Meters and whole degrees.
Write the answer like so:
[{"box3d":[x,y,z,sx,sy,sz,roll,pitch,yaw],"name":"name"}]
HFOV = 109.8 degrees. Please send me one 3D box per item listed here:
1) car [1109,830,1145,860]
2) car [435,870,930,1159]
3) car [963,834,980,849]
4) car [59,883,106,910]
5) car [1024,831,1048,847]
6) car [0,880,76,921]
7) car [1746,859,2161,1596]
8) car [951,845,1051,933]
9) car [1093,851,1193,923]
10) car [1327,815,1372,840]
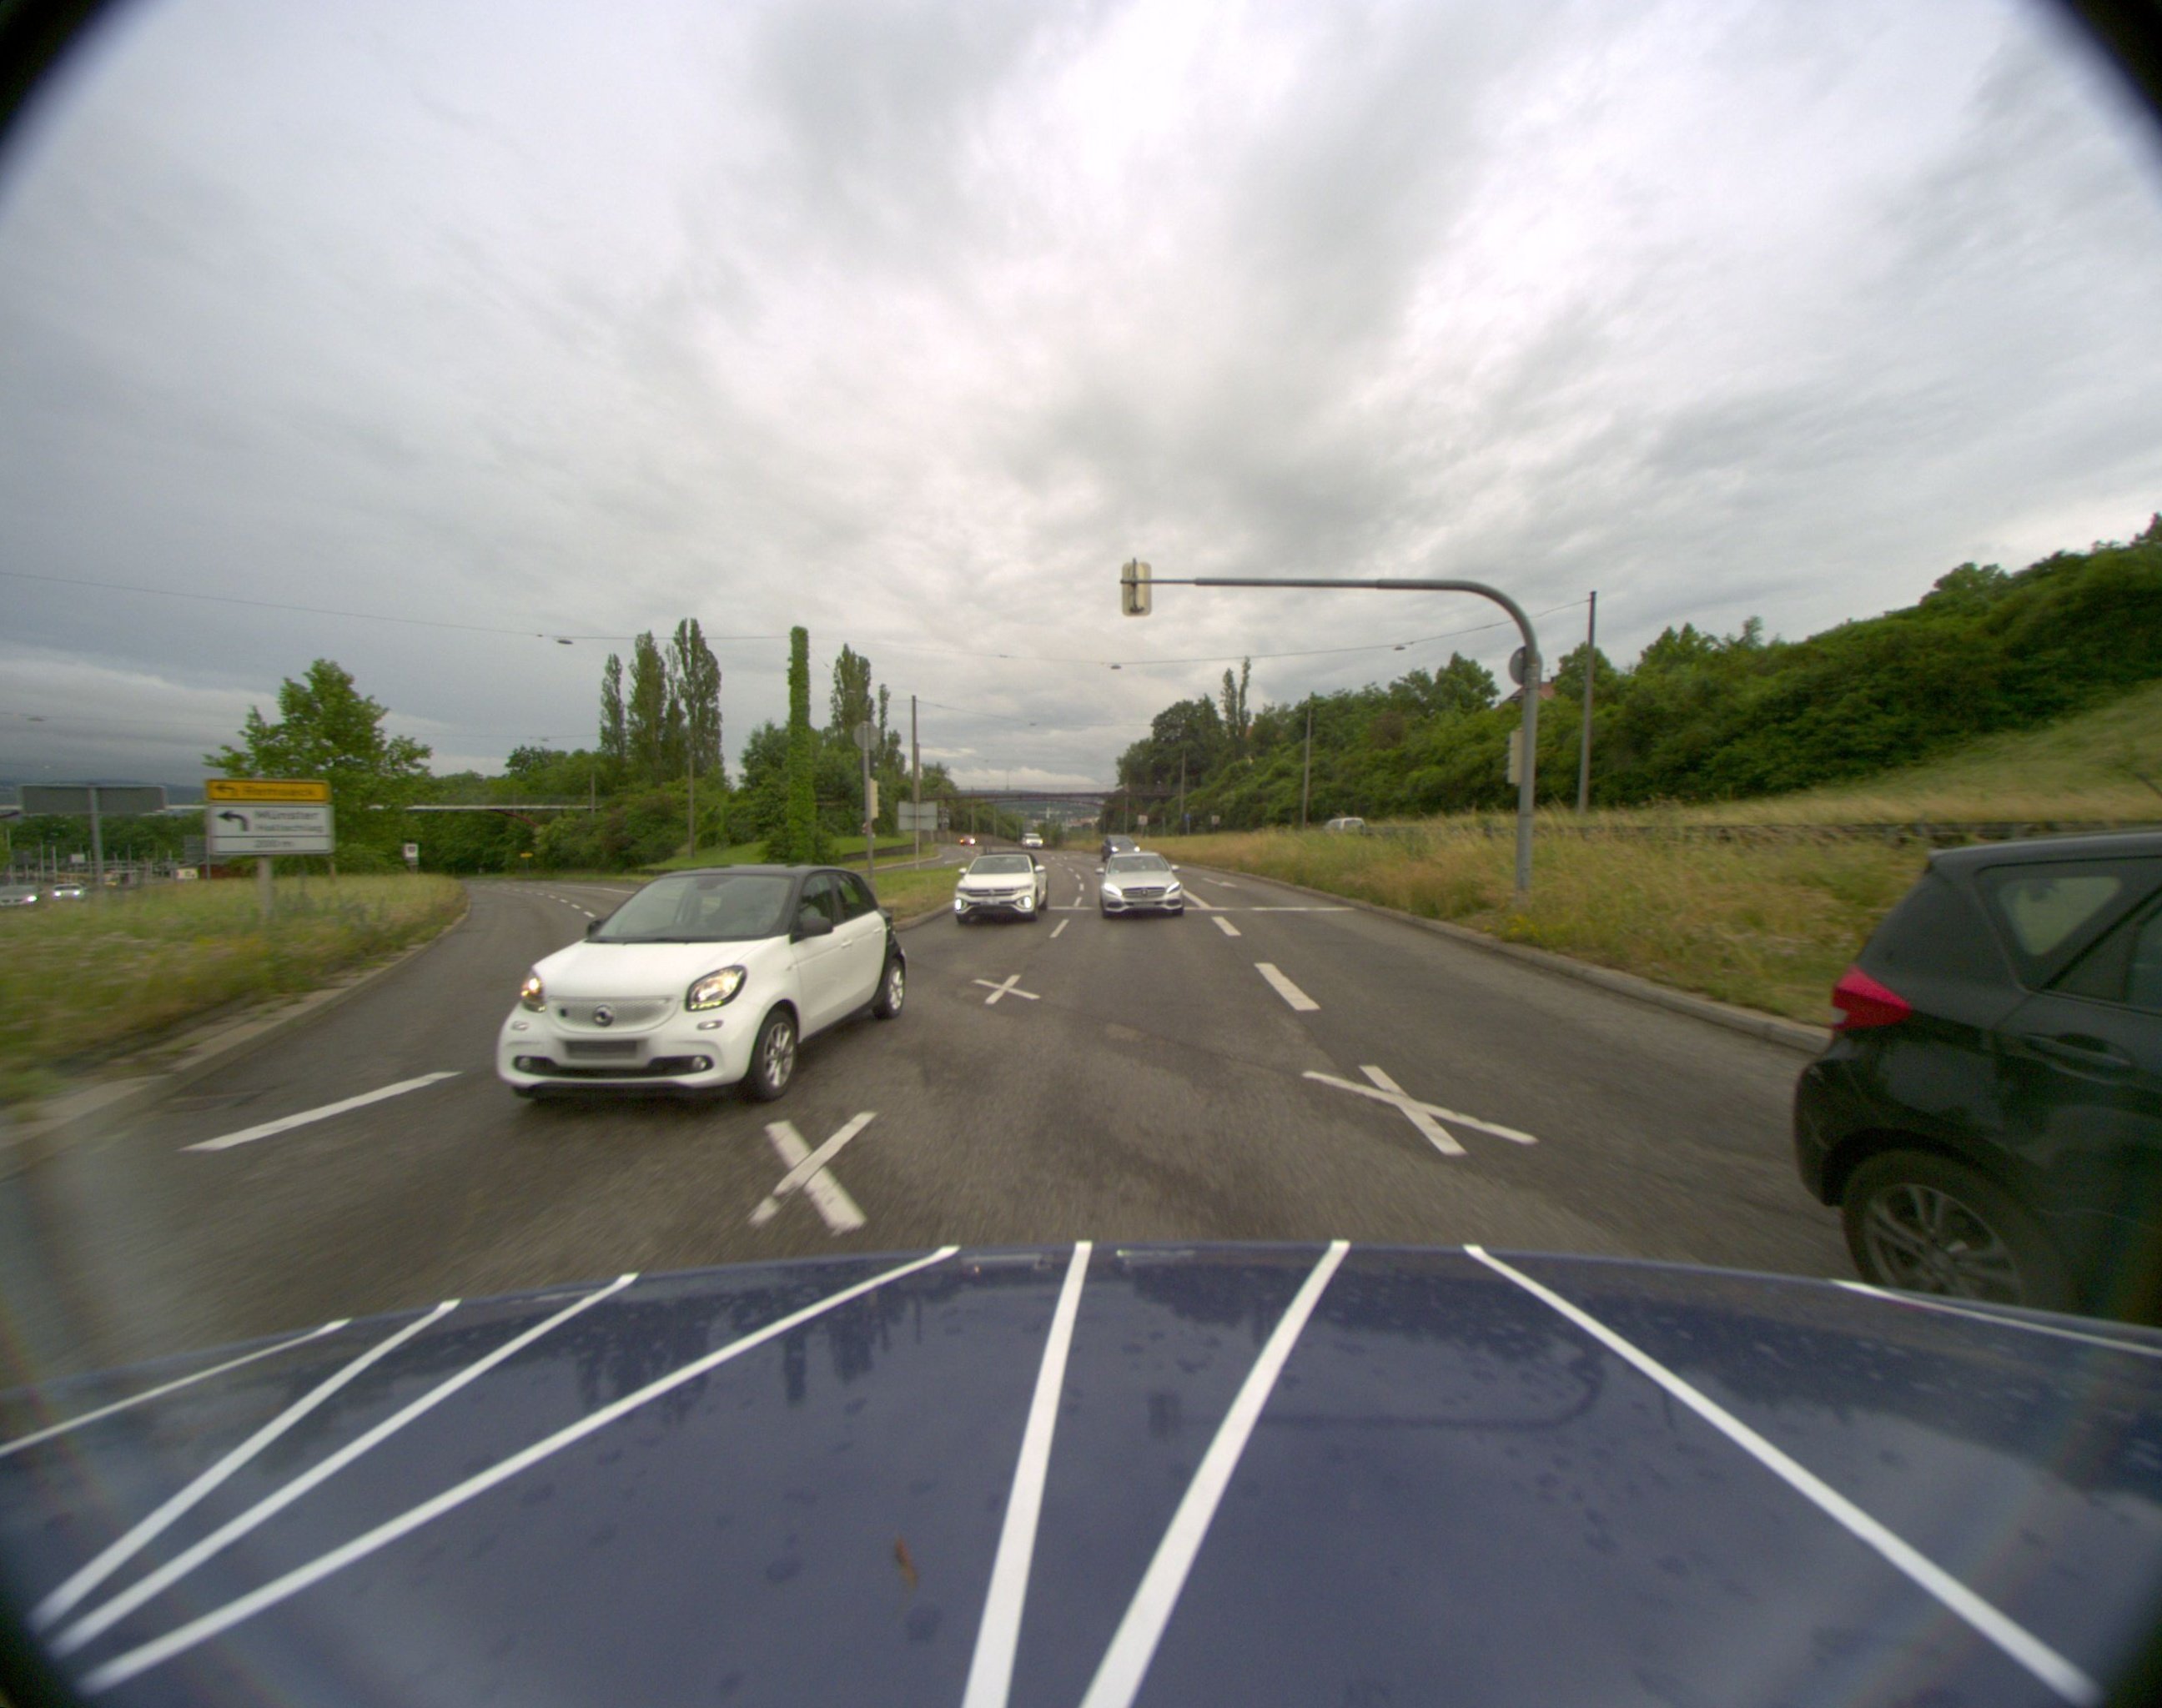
[{"box3d":[2.843,-0.559,47.675,1.927,1.725,4.024,-2,1,-1],"name":"car"},{"box3d":[-2.693,0.958,6.417,1.725,1.513,4.228,-1,0,4],"name":"car"},{"box3d":[-15.812,-1.801,109.657,2.000,2.002,3.995,-2,1,-12],"name":"car"},{"box3d":[-80.343,3.392,61.186,3.989,1.937,1.842,-1,2,43],"name":"car"},{"box3d":[-5.124,-1.676,85.540,2.001,1.682,4.283,-2,1,-13],"name":"car"},{"box3d":[-57.540,2.513,41.935,3.989,2.002,2.004,-1,2,43],"name":"car"},{"box3d":[3.242,0.851,0.687,1.800,1.556,4.043,-3,1,2],"name":"car"},{"box3d":[-1.770,0.724,18.017,1.843,1.533,3.814,-2,5,1],"name":"car"},{"box3d":[1.362,0.696,18.466,1.999,1.400,4.523,-1,2,0],"name":"car"},{"box3d":[16.840,-1.667,47.819,1.561,1.424,3.228,-3,2,-1],"name":"car"}]
